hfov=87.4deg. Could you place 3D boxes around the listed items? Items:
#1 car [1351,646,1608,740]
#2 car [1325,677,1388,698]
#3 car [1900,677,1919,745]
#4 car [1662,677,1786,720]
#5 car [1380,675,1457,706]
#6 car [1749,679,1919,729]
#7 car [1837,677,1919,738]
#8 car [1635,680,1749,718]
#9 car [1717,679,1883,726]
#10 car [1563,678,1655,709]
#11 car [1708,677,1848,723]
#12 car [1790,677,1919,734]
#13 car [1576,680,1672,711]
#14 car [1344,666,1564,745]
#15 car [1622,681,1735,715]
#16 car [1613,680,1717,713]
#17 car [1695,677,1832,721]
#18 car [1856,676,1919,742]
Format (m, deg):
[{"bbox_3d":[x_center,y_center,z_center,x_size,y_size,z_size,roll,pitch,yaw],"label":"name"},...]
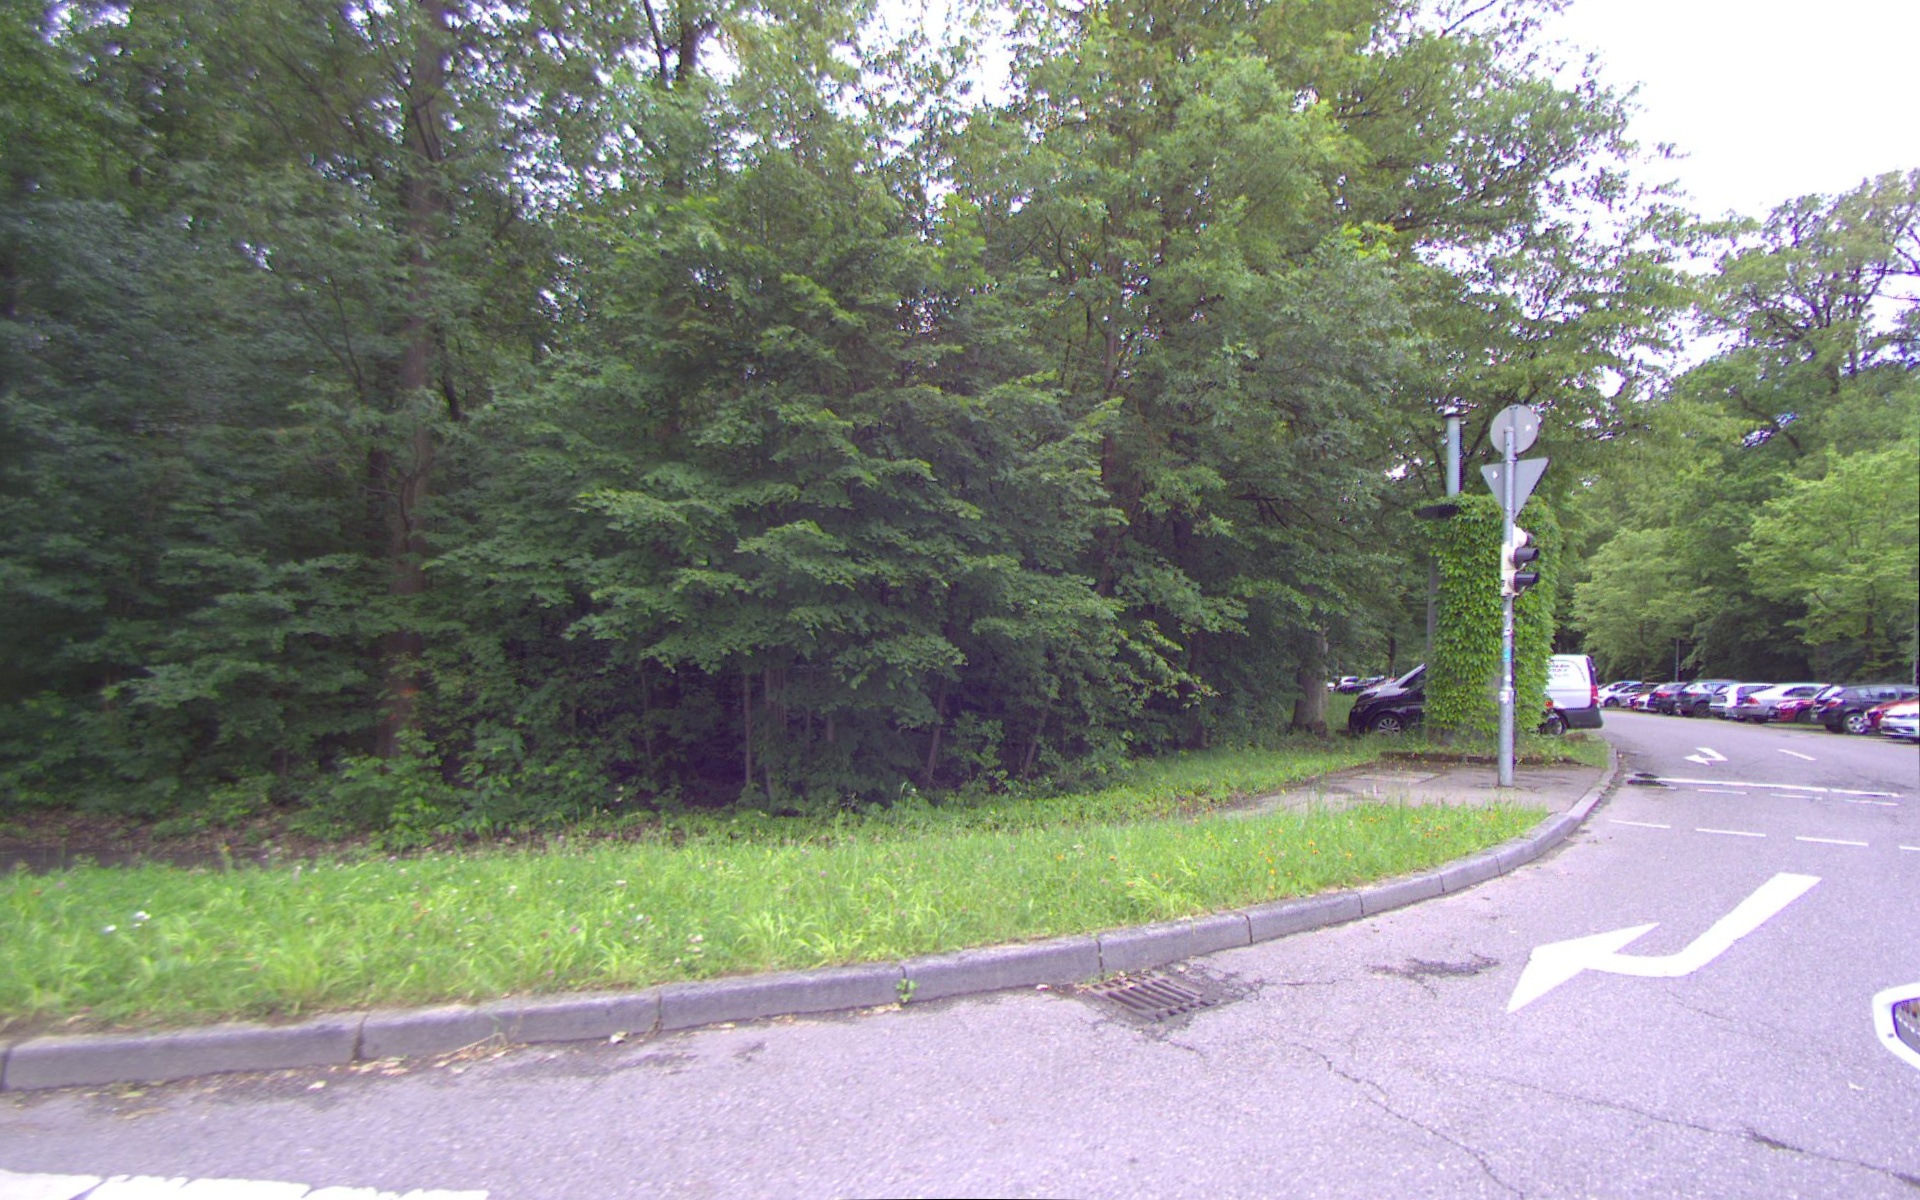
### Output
[{"bbox_3d":[11.785,2.066,23.030,5.012,1.940,1.975,-2,-5,30],"label":"car"},{"bbox_3d":[30.990,6.834,78.606,4.291,1.505,1.894,0,-5,9],"label":"car"},{"bbox_3d":[23.021,2.507,21.449,3.926,1.502,1.876,1,-4,28],"label":"car"},{"bbox_3d":[31.779,4.083,41.918,3.706,1.610,1.950,0,-3,21],"label":"car"},{"bbox_3d":[26.005,5.135,57.032,3.898,1.649,1.997,-1,-5,25],"label":"car"},{"bbox_3d":[28.553,3.374,32.819,3.922,1.468,1.941,0,-4,22],"label":"car"},{"bbox_3d":[25.575,2.798,25.811,4.163,1.499,1.918,0,-4,26],"label":"car"},{"bbox_3d":[32.409,4.366,44.590,3.704,1.500,1.775,0,-3,16],"label":"car"},{"bbox_3d":[29.420,3.570,35.345,4.061,1.480,1.865,-1,-5,24],"label":"car"},{"bbox_3d":[36.575,5.270,56.722,3.942,1.579,1.979,0,-3,18],"label":"car"},{"bbox_3d":[30.432,3.710,37.500,3.642,1.530,1.752,0,-5,22],"label":"car"},{"bbox_3d":[26.234,2.966,28.338,3.925,1.502,1.921,-1,-4,26],"label":"car"},{"bbox_3d":[35.830,5.146,54.296,3.909,1.503,1.886,1,-3,14],"label":"car"},{"bbox_3d":[10.102,2.111,20.664,3.928,1.396,1.720,-1,-4,30],"label":"car"},{"bbox_3d":[33.603,4.574,47.096,3.867,1.429,1.879,0,-3,18],"label":"car"},{"bbox_3d":[34.788,4.752,49.647,3.729,1.460,1.872,1,-3,10],"label":"car"},{"bbox_3d":[31.391,3.867,39.373,3.779,1.565,1.731,0,-4,20],"label":"car"},{"bbox_3d":[24.291,2.591,23.446,4.701,1.495,1.850,-1,-4,29],"label":"car"}]
